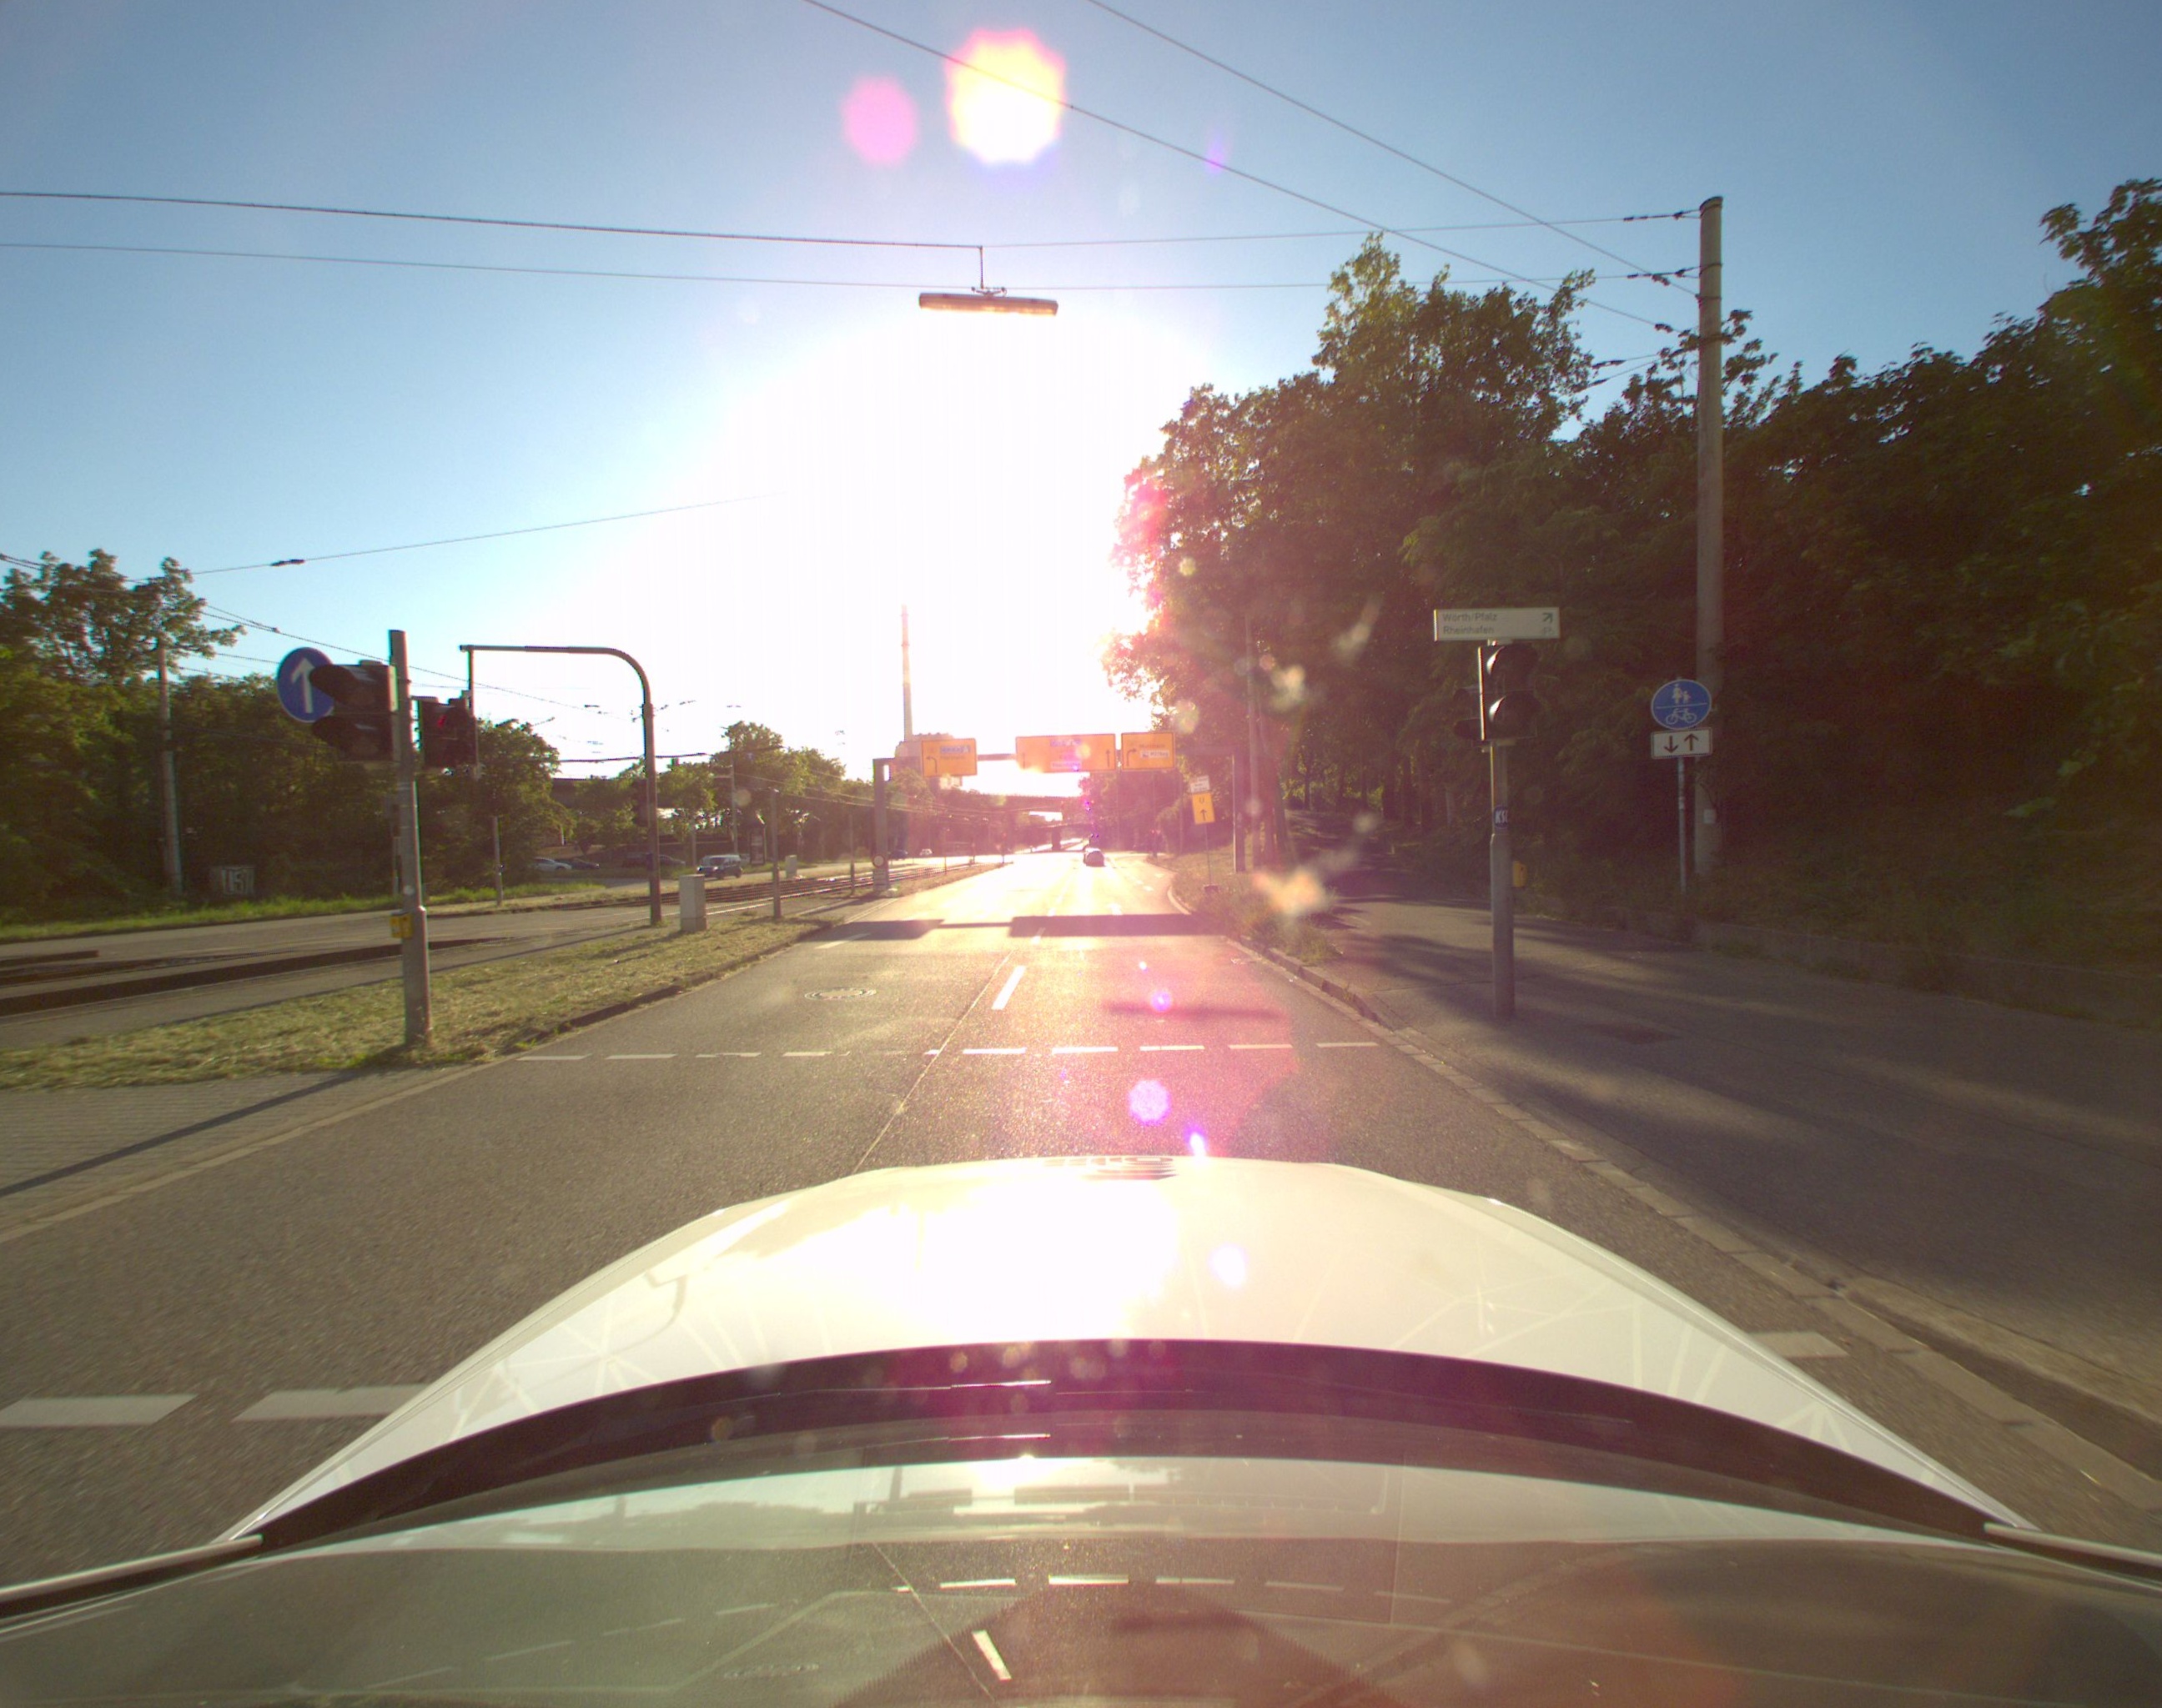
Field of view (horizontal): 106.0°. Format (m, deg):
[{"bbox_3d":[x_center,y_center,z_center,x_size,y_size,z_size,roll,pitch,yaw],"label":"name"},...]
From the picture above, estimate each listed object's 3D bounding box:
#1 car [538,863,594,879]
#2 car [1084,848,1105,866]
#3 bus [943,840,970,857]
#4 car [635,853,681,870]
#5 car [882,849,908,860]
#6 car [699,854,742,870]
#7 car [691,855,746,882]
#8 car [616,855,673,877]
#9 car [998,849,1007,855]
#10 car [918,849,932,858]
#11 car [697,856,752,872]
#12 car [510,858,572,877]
[{"bbox_3d":[-51.843,1.710,82.119,4.638,1.458,1.678,-1,1,-29],"label":"car"},{"bbox_3d":[1.191,0.228,74.349,1.731,1.505,3.999,-2,1,0],"label":"car"},{"bbox_3d":[-24.737,-1.052,162.639,2.532,3.130,12.929,-2,0,3],"label":"bus"},{"bbox_3d":[-44.505,0.763,85.772,4.258,1.574,1.679,-2,1,-26],"label":"car"},{"bbox_3d":[-26.892,0.119,117.688,1.752,1.505,3.951,-3,2,-44],"label":"car"},{"bbox_3d":[-37.827,0.821,85.493,4.007,1.574,1.679,-2,1,-26],"label":"car"},{"bbox_3d":[-26.746,1.041,60.266,1.925,1.787,4.263,-2,1,3],"label":"car"},{"bbox_3d":[-43.793,1.138,81.721,4.958,1.991,2.018,-2,1,-29],"label":"car"},{"bbox_3d":[-19.666,-0.449,203.750,1.600,1.419,4.011,-1,1,3],"label":"car"},{"bbox_3d":[-26.430,-0.144,138.320,1.602,1.512,4.007,-1,1,-1],"label":"car"},{"bbox_3d":[-38.750,1.070,88.660,5.373,1.574,1.727,-2,1,-23],"label":"car"},{"bbox_3d":[-51.502,1.296,77.824,4.782,1.574,1.677,-3,1,-30],"label":"car"}]
